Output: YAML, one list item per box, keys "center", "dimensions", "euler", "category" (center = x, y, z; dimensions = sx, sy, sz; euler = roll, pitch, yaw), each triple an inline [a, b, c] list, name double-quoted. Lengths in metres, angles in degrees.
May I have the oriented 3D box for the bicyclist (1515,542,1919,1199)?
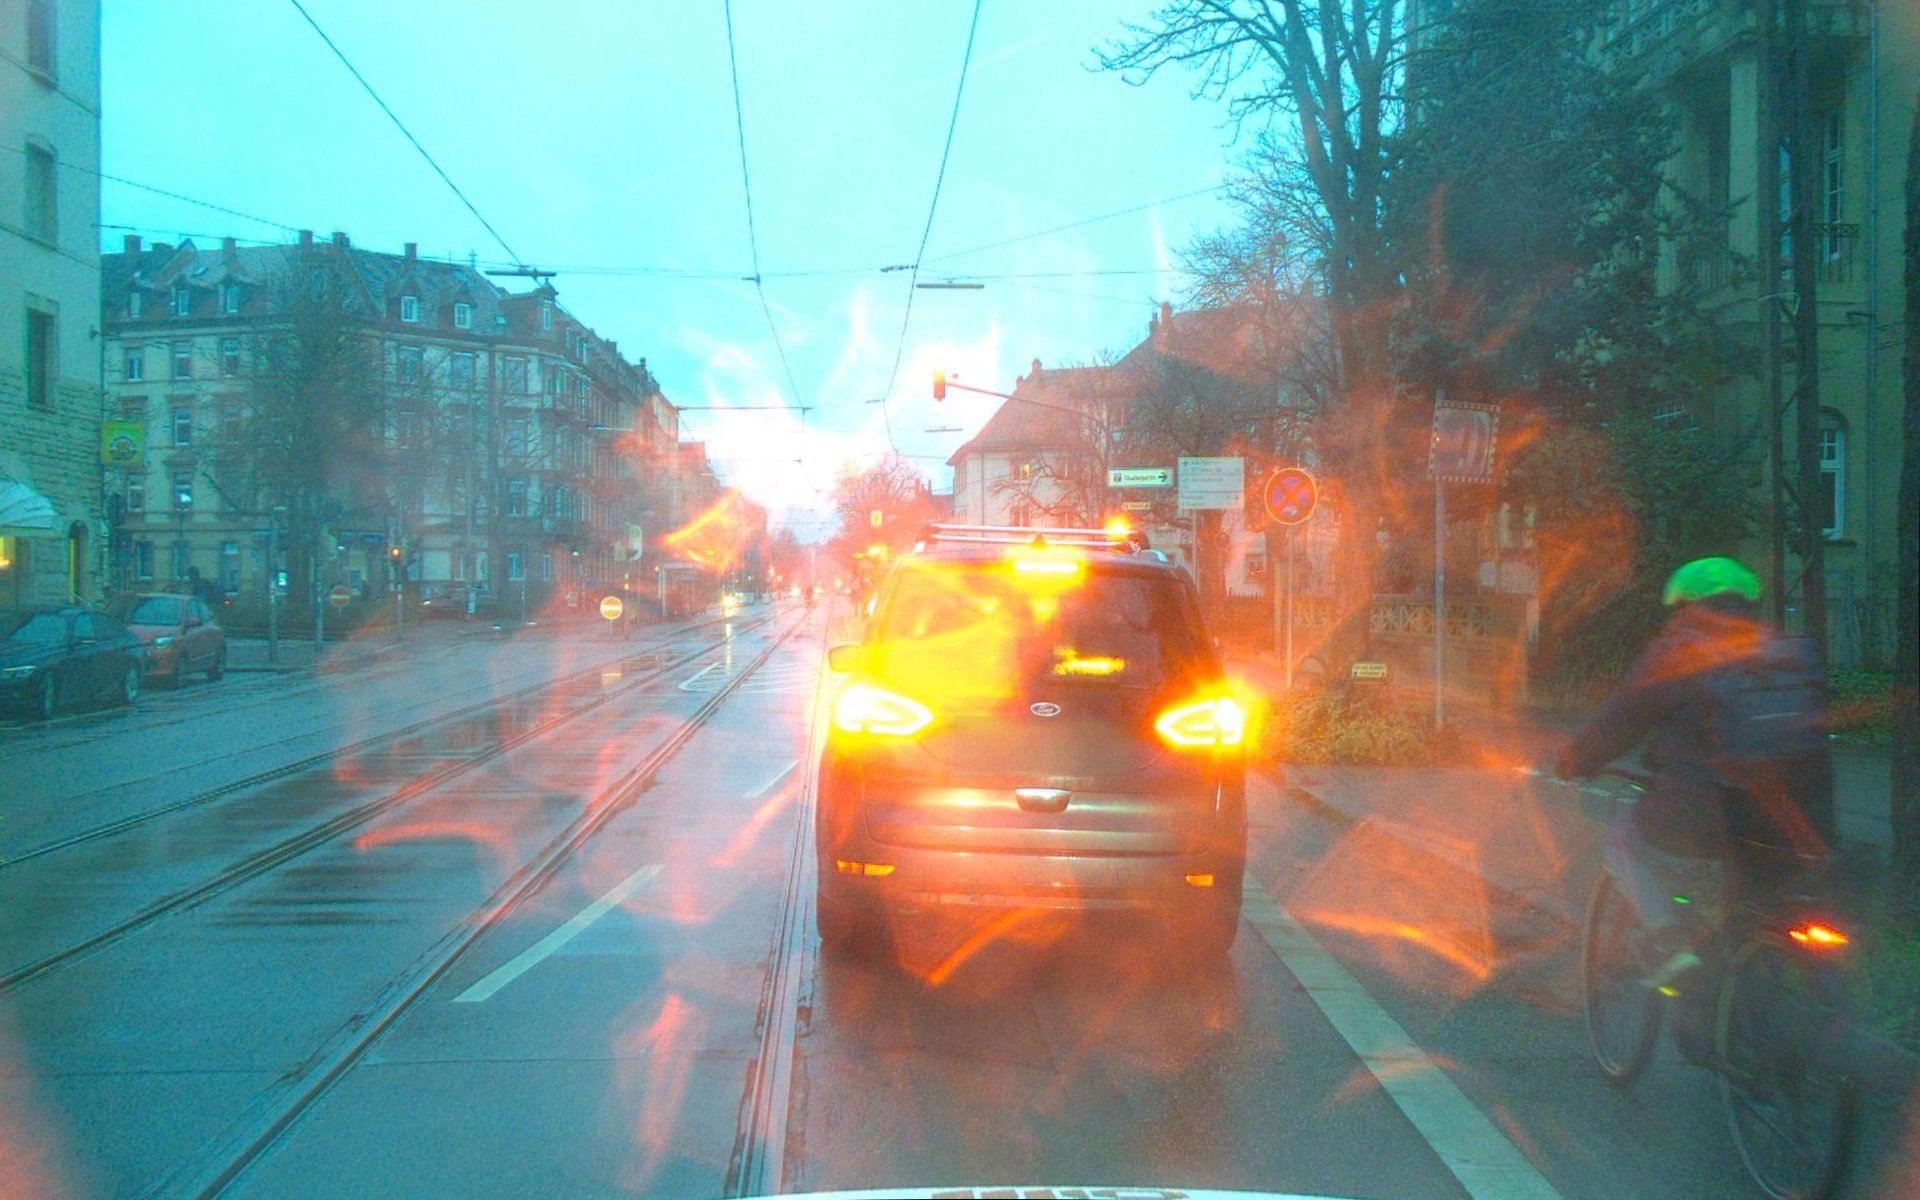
- center: [2.221, 0.715, 4.756]
  dimensions: [0.703, 1.691, 1.054]
  euler: [4, 0, -8]
  category: "bicyclist"

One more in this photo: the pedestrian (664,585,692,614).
- center: [-11.800, -0.025, 69.185]
  dimensions: [1.026, 1.221, 0.884]
  euler: [1, 0, -3]
  category: "pedestrian"

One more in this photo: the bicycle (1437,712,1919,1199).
- center: [2.190, 0.994, 4.898]
  dimensions: [0.703, 1.131, 1.938]
  euler: [4, 0, -8]
  category: "bicycle"

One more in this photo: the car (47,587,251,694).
- center: [-14.040, 0.654, 28.911]
  dimensions: [2.000, 1.578, 4.023]
  euler: [4, 0, -9]
  category: "car"

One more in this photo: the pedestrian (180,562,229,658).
- center: [-16.429, 0.218, 35.951]
  dimensions: [0.742, 2.049, 0.646]
  euler: [0, -1, 32]
  category: "pedestrian"

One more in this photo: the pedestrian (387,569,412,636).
- center: [-17.268, 0.080, 50.953]
  dimensions: [0.695, 2.049, 0.656]
  euler: [0, 0, -23]
  category: "pedestrian"

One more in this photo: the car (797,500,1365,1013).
- center: [0.381, 0.568, 8.457]
  dimensions: [2.061, 1.848, 4.659]
  euler: [2, 0, -2]
  category: "car"

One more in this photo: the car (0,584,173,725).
- center: [-12.948, 0.675, 23.157]
  dimensions: [1.948, 1.674, 4.624]
  euler: [5, -1, -6]
  category: "car"
